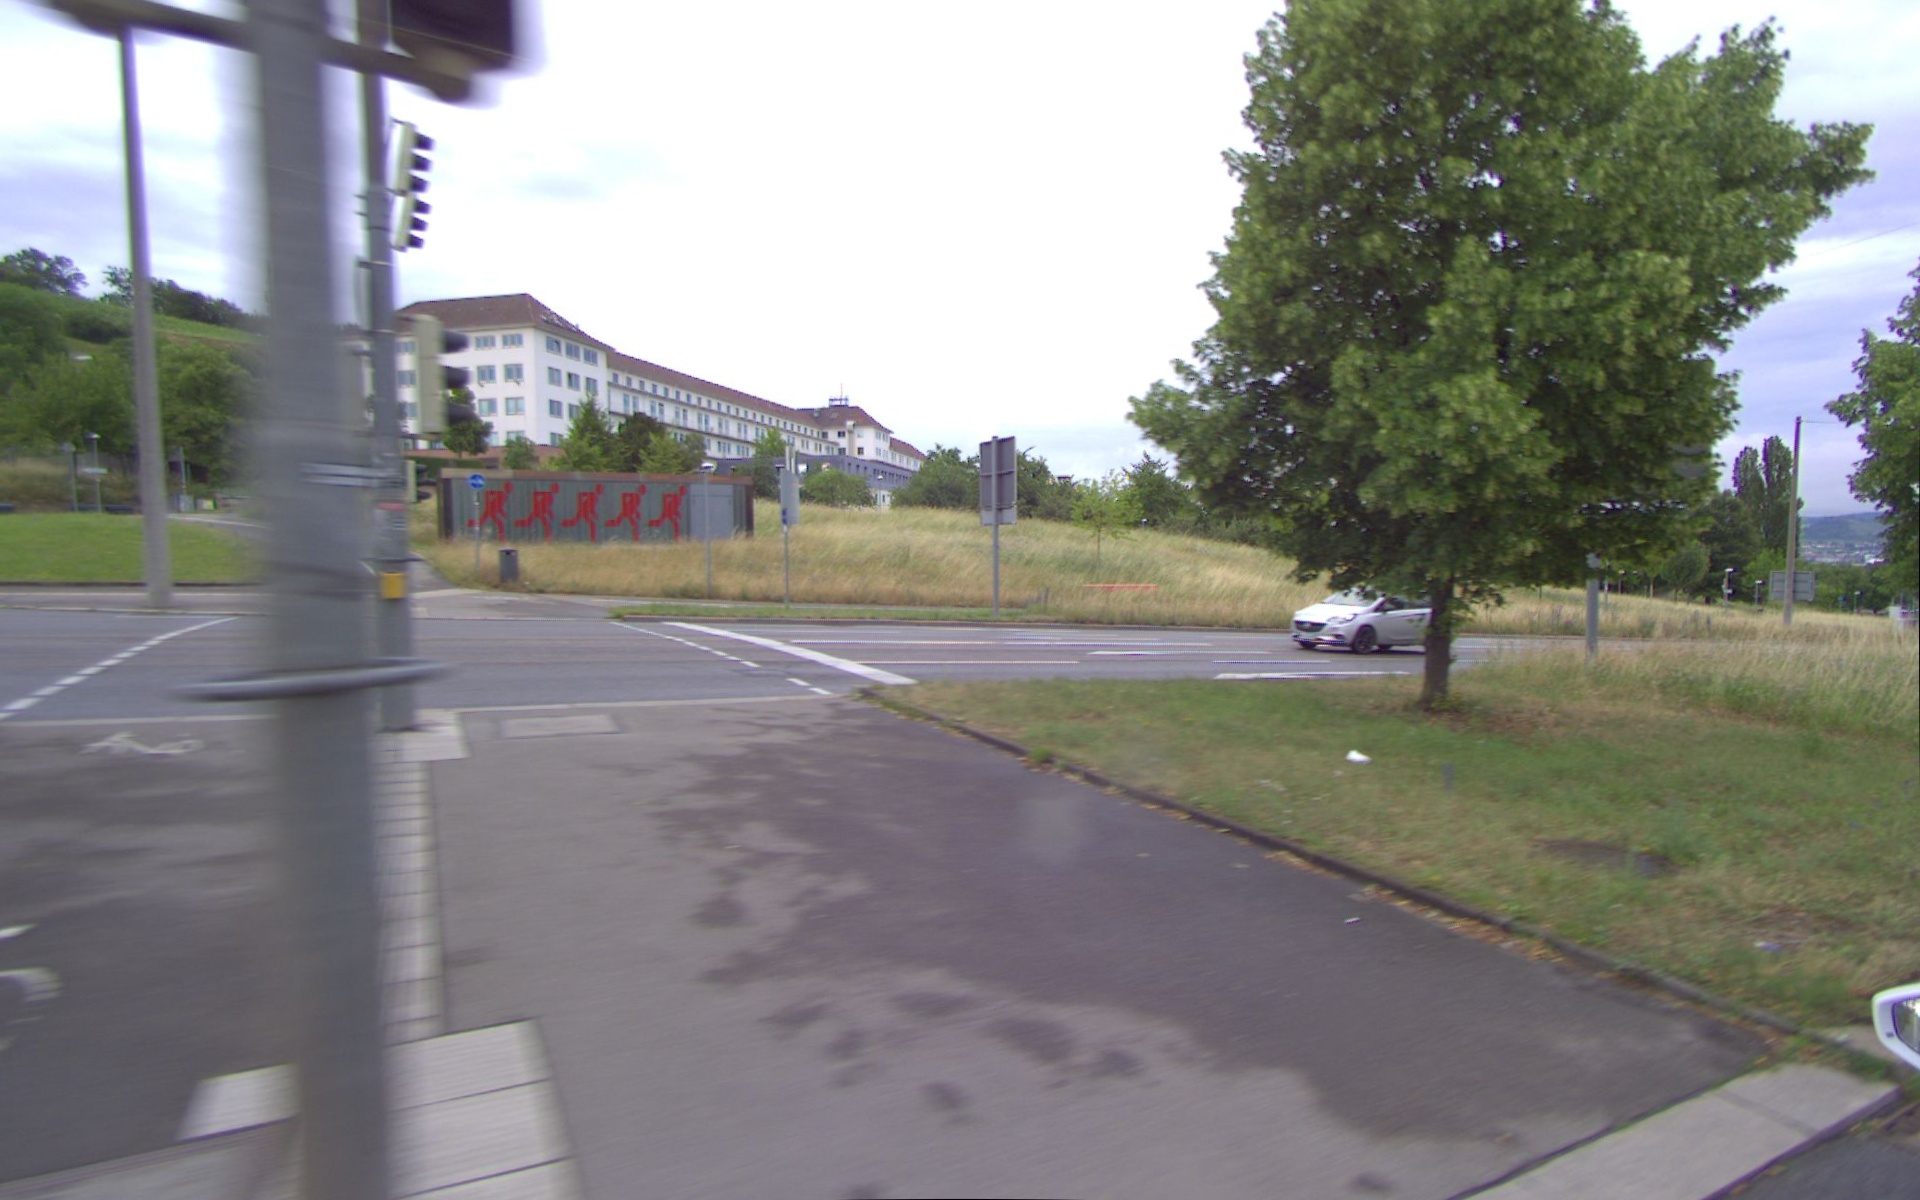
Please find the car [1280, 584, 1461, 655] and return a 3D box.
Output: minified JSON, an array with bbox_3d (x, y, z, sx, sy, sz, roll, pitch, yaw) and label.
[{"bbox_3d":[9.095,0.441,22.197,3.878,1.407,1.532,2,1,-28],"label":"car"}]
